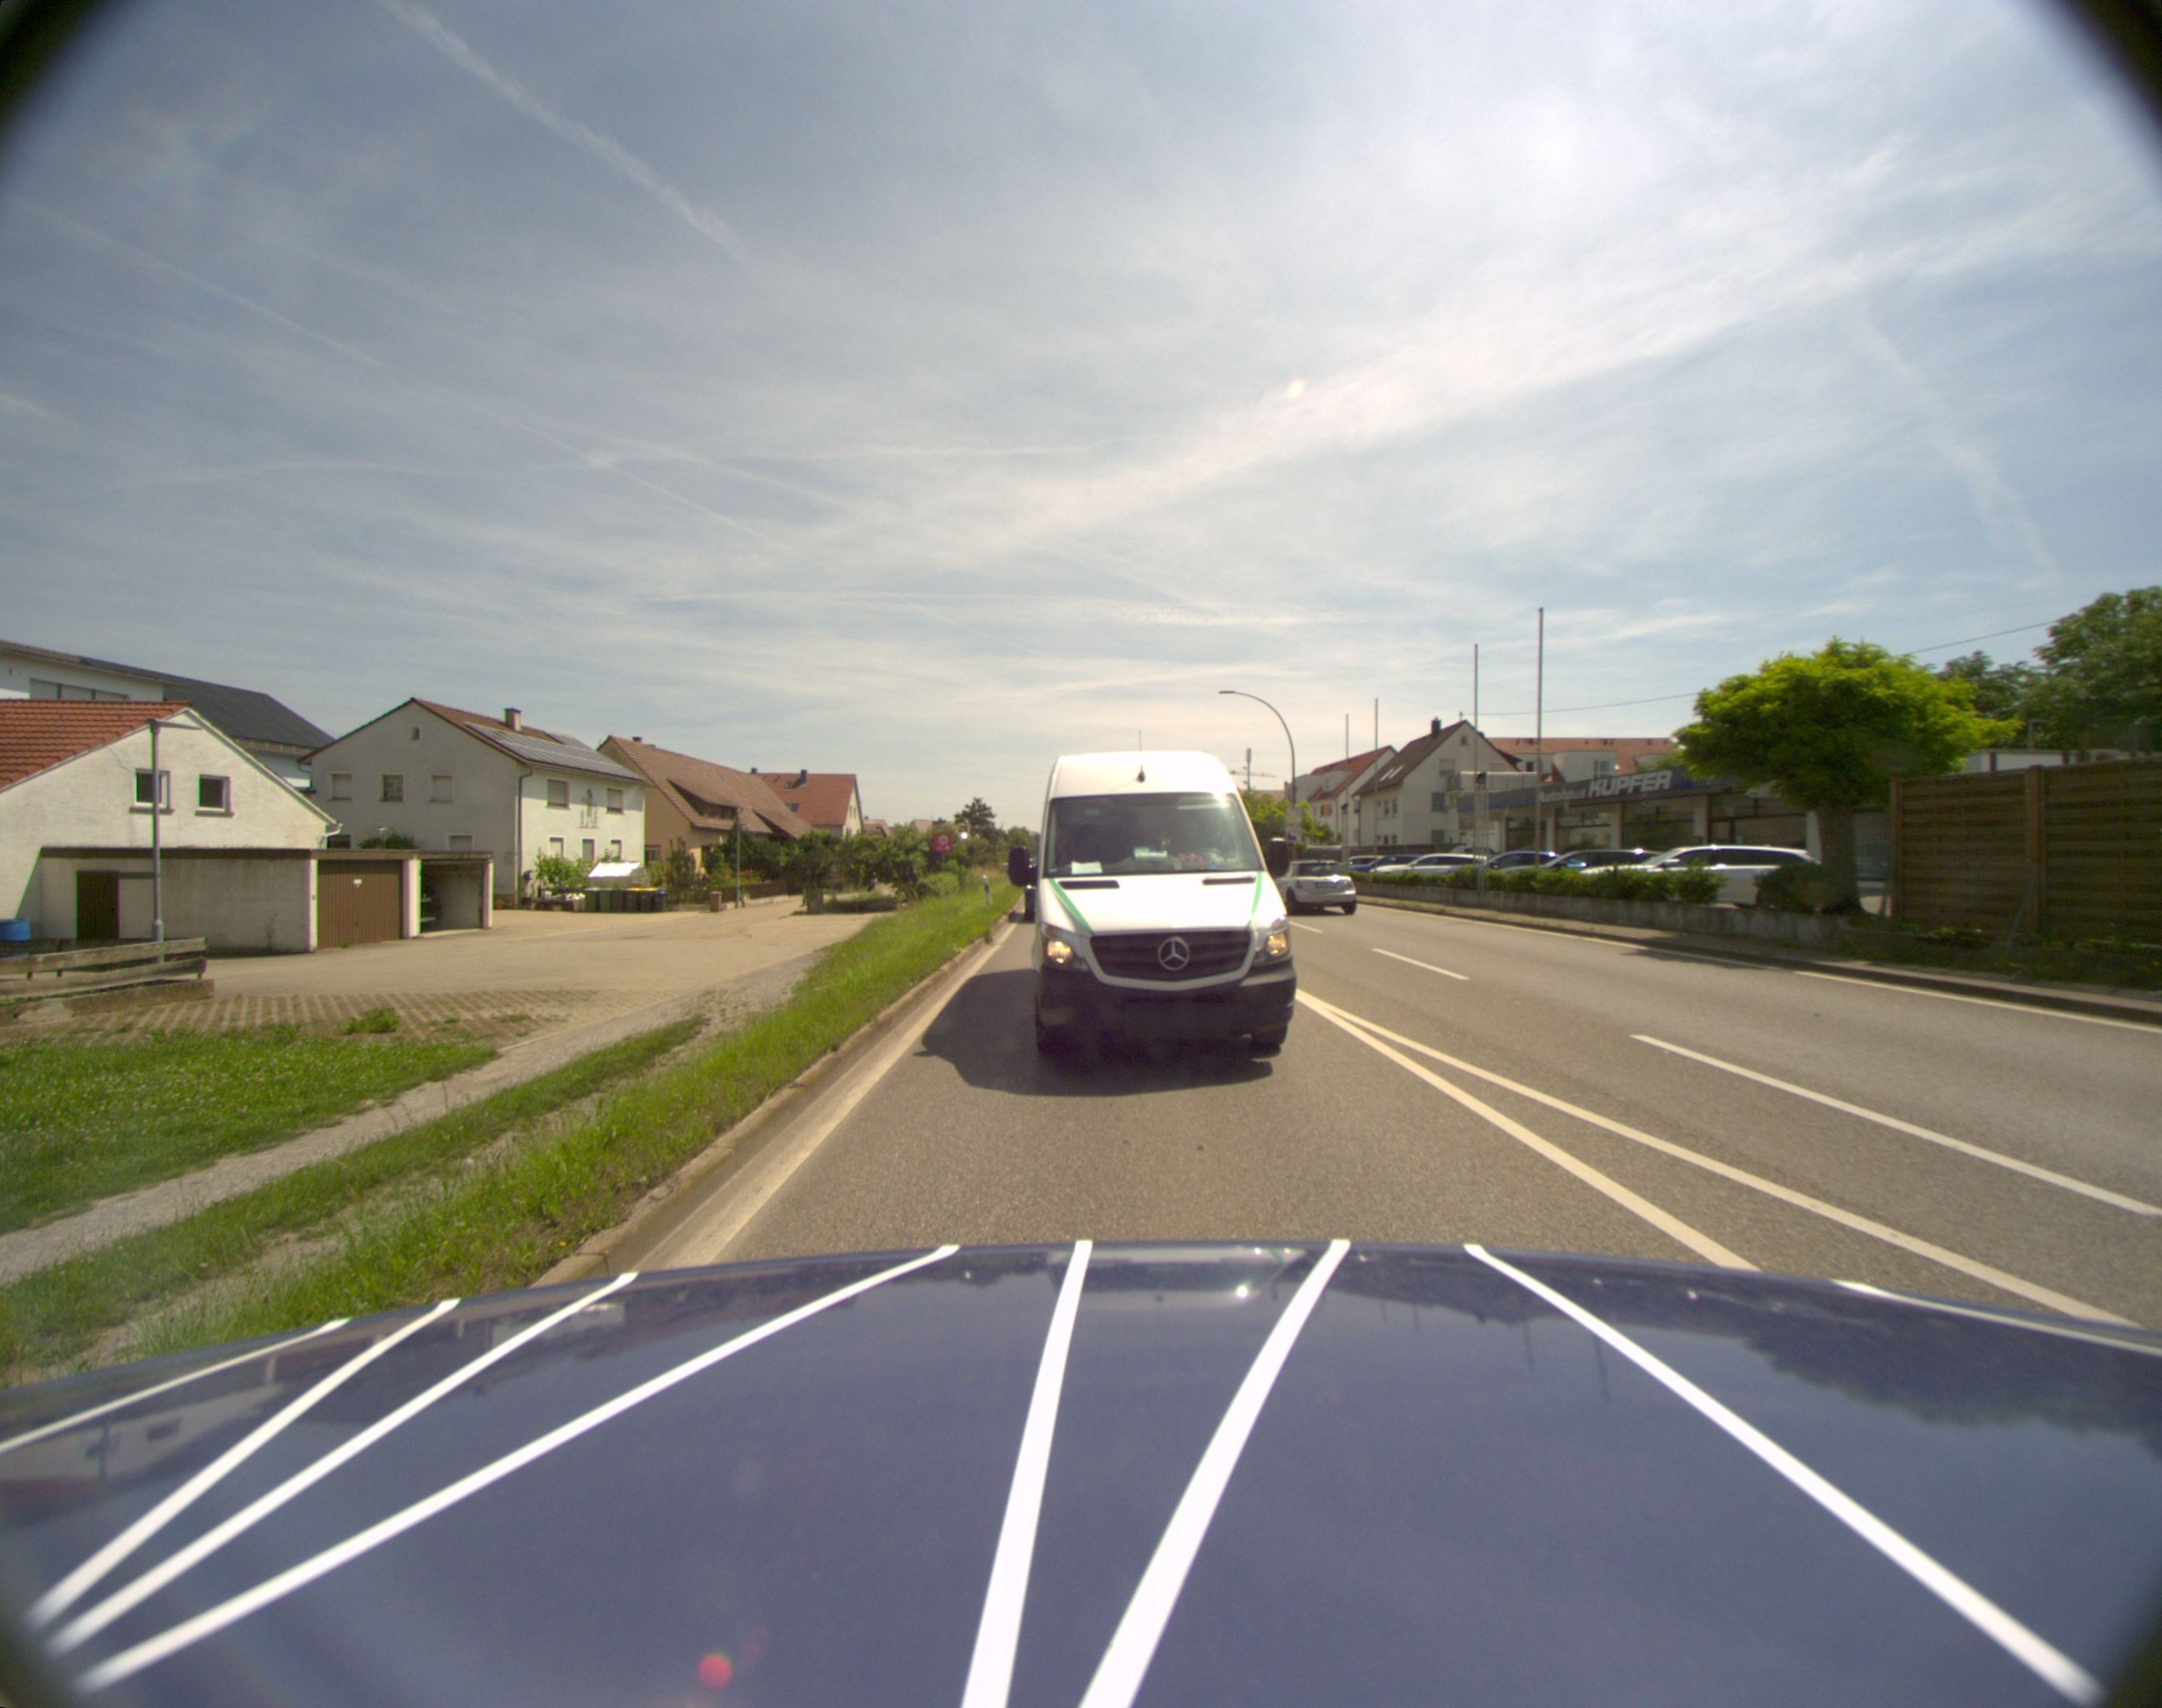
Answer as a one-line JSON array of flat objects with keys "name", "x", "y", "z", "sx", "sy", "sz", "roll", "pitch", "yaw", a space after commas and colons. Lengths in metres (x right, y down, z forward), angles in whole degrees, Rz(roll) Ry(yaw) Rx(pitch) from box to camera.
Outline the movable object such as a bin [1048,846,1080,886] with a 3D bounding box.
[{"name": "movable object such as a bin", "x": -1.174, "y": 0.870, "z": 55.312, "sx": 1.998, "sy": 2.710, "sz": 5.419, "roll": -1, "pitch": 0, "yaw": 1}]

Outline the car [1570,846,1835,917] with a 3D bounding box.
[{"name": "car", "x": 13.914, "y": 0.609, "z": 17.376, "sx": 4.329, "sy": 1.451, "sz": 1.858, "roll": -1, "pitch": 0, "yaw": 24}]

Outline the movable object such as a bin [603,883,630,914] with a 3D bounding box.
[{"name": "movable object such as a bin", "x": -21.201, "y": 2.026, "z": 34.683, "sx": 0.678, "sy": 1.330, "sz": 0.820, "roll": -2, "pitch": 0, "yaw": -1}]

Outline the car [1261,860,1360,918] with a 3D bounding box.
[{"name": "car", "x": 6.161, "y": 0.894, "z": 20.803, "sx": 1.626, "sy": 1.373, "sz": 3.560, "roll": -2, "pitch": 0, "yaw": 1}]

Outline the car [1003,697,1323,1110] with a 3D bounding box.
[{"name": "car", "x": 0.492, "y": 0.332, "z": 7.682, "sx": 1.978, "sy": 2.583, "sz": 5.633, "roll": -2, "pitch": 0, "yaw": -1}]

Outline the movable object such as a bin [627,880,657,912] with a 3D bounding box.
[{"name": "movable object such as a bin", "x": -19.863, "y": 1.900, "z": 34.386, "sx": 0.765, "sy": 1.362, "sz": 0.946, "roll": -2, "pitch": 0, "yaw": -1}]

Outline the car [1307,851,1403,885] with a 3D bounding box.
[{"name": "car", "x": 13.570, "y": 0.677, "z": 37.620, "sx": 4.255, "sy": 1.521, "sz": 2.003, "roll": -2, "pitch": 0, "yaw": 26}]

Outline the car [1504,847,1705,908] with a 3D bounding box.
[{"name": "car", "x": 14.228, "y": 0.656, "z": 20.984, "sx": 4.251, "sy": 1.536, "sz": 1.853, "roll": -2, "pitch": 0, "yaw": 23}]

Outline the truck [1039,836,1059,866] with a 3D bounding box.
[{"name": "truck", "x": -4.266, "y": -0.334, "z": 102.476, "sx": 2.506, "sy": 3.847, "sz": 5.497, "roll": -2, "pitch": 0, "yaw": -1}]

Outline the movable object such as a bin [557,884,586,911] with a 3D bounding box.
[{"name": "movable object such as a bin", "x": -23.052, "y": 1.969, "z": 34.396, "sx": 0.740, "sy": 1.149, "sz": 0.830, "roll": -2, "pitch": 0, "yaw": -1}]

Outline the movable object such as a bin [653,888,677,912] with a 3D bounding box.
[{"name": "movable object such as a bin", "x": -18.854, "y": 2.078, "z": 34.480, "sx": 0.645, "sy": 1.021, "sz": 0.756, "roll": -2, "pitch": 0, "yaw": -1}]

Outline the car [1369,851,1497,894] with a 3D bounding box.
[{"name": "car", "x": 13.552, "y": 0.714, "z": 29.326, "sx": 4.303, "sy": 1.510, "sz": 2.003, "roll": -2, "pitch": 0, "yaw": 27}]

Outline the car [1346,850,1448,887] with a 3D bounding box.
[{"name": "car", "x": 13.923, "y": 0.643, "z": 33.495, "sx": 3.990, "sy": 1.455, "sz": 2.003, "roll": -2, "pitch": 0, "yaw": 26}]

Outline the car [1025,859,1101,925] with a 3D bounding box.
[{"name": "car", "x": -0.474, "y": 0.930, "z": 20.385, "sx": 1.824, "sy": 1.574, "sz": 3.901, "roll": -1, "pitch": 0, "yaw": -1}]

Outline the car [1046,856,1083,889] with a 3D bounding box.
[{"name": "car", "x": -0.846, "y": 0.929, "z": 39.863, "sx": 1.824, "sy": 1.637, "sz": 3.901, "roll": -1, "pitch": 0, "yaw": -1}]

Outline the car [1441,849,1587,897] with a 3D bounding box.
[{"name": "car", "x": 14.052, "y": 0.611, "z": 24.935, "sx": 3.990, "sy": 1.433, "sz": 1.857, "roll": -2, "pitch": 0, "yaw": 25}]

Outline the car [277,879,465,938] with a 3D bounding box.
[{"name": "car", "x": -21.545, "y": 1.637, "z": 23.174, "sx": 3.997, "sy": 1.594, "sz": 1.826, "roll": -1, "pitch": 0, "yaw": 0}]
